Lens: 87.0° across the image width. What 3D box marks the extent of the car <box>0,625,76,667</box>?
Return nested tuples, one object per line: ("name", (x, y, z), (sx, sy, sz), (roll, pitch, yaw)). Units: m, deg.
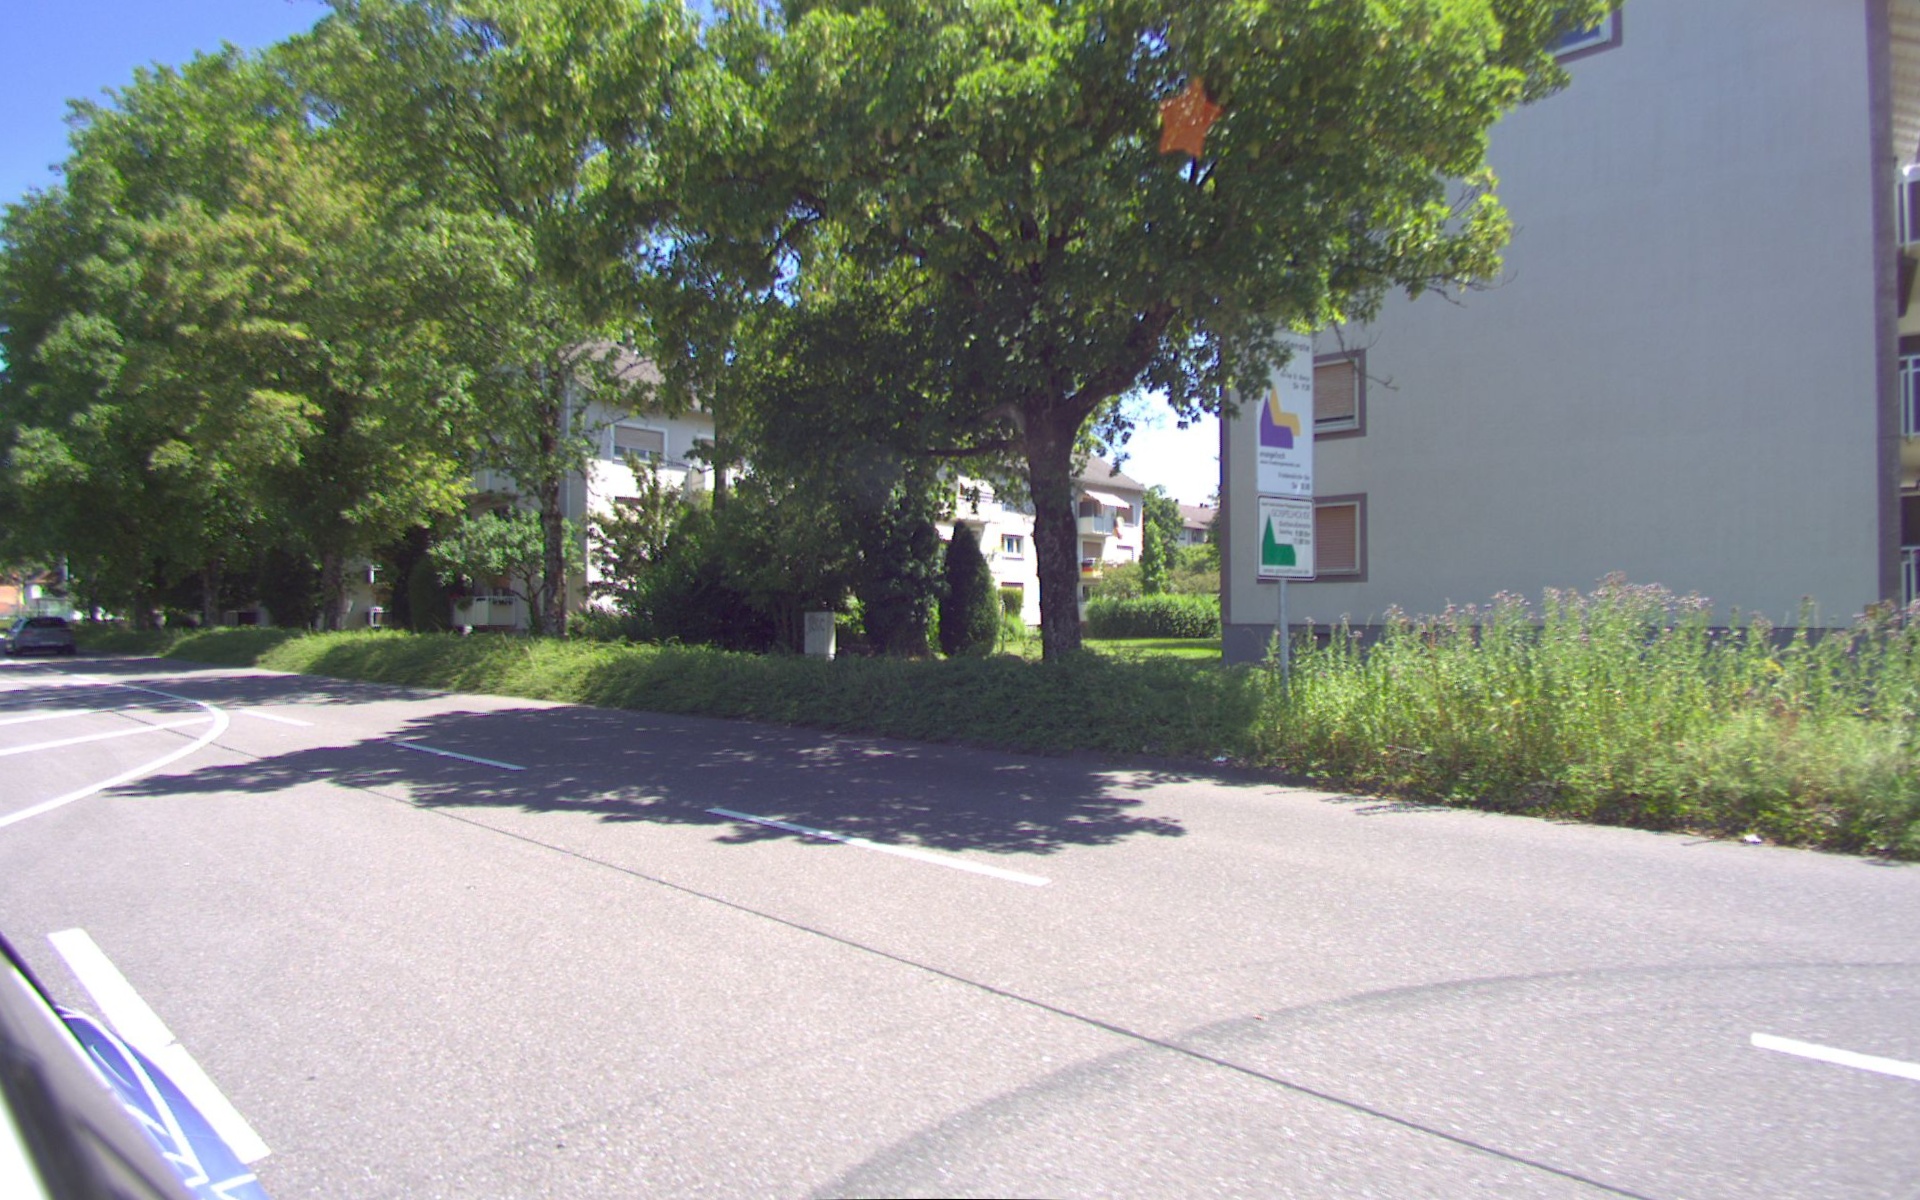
("car", (-34.425, 1.666, 37.645), (4.144, 1.438, 1.705), (-1, 0, 40))
